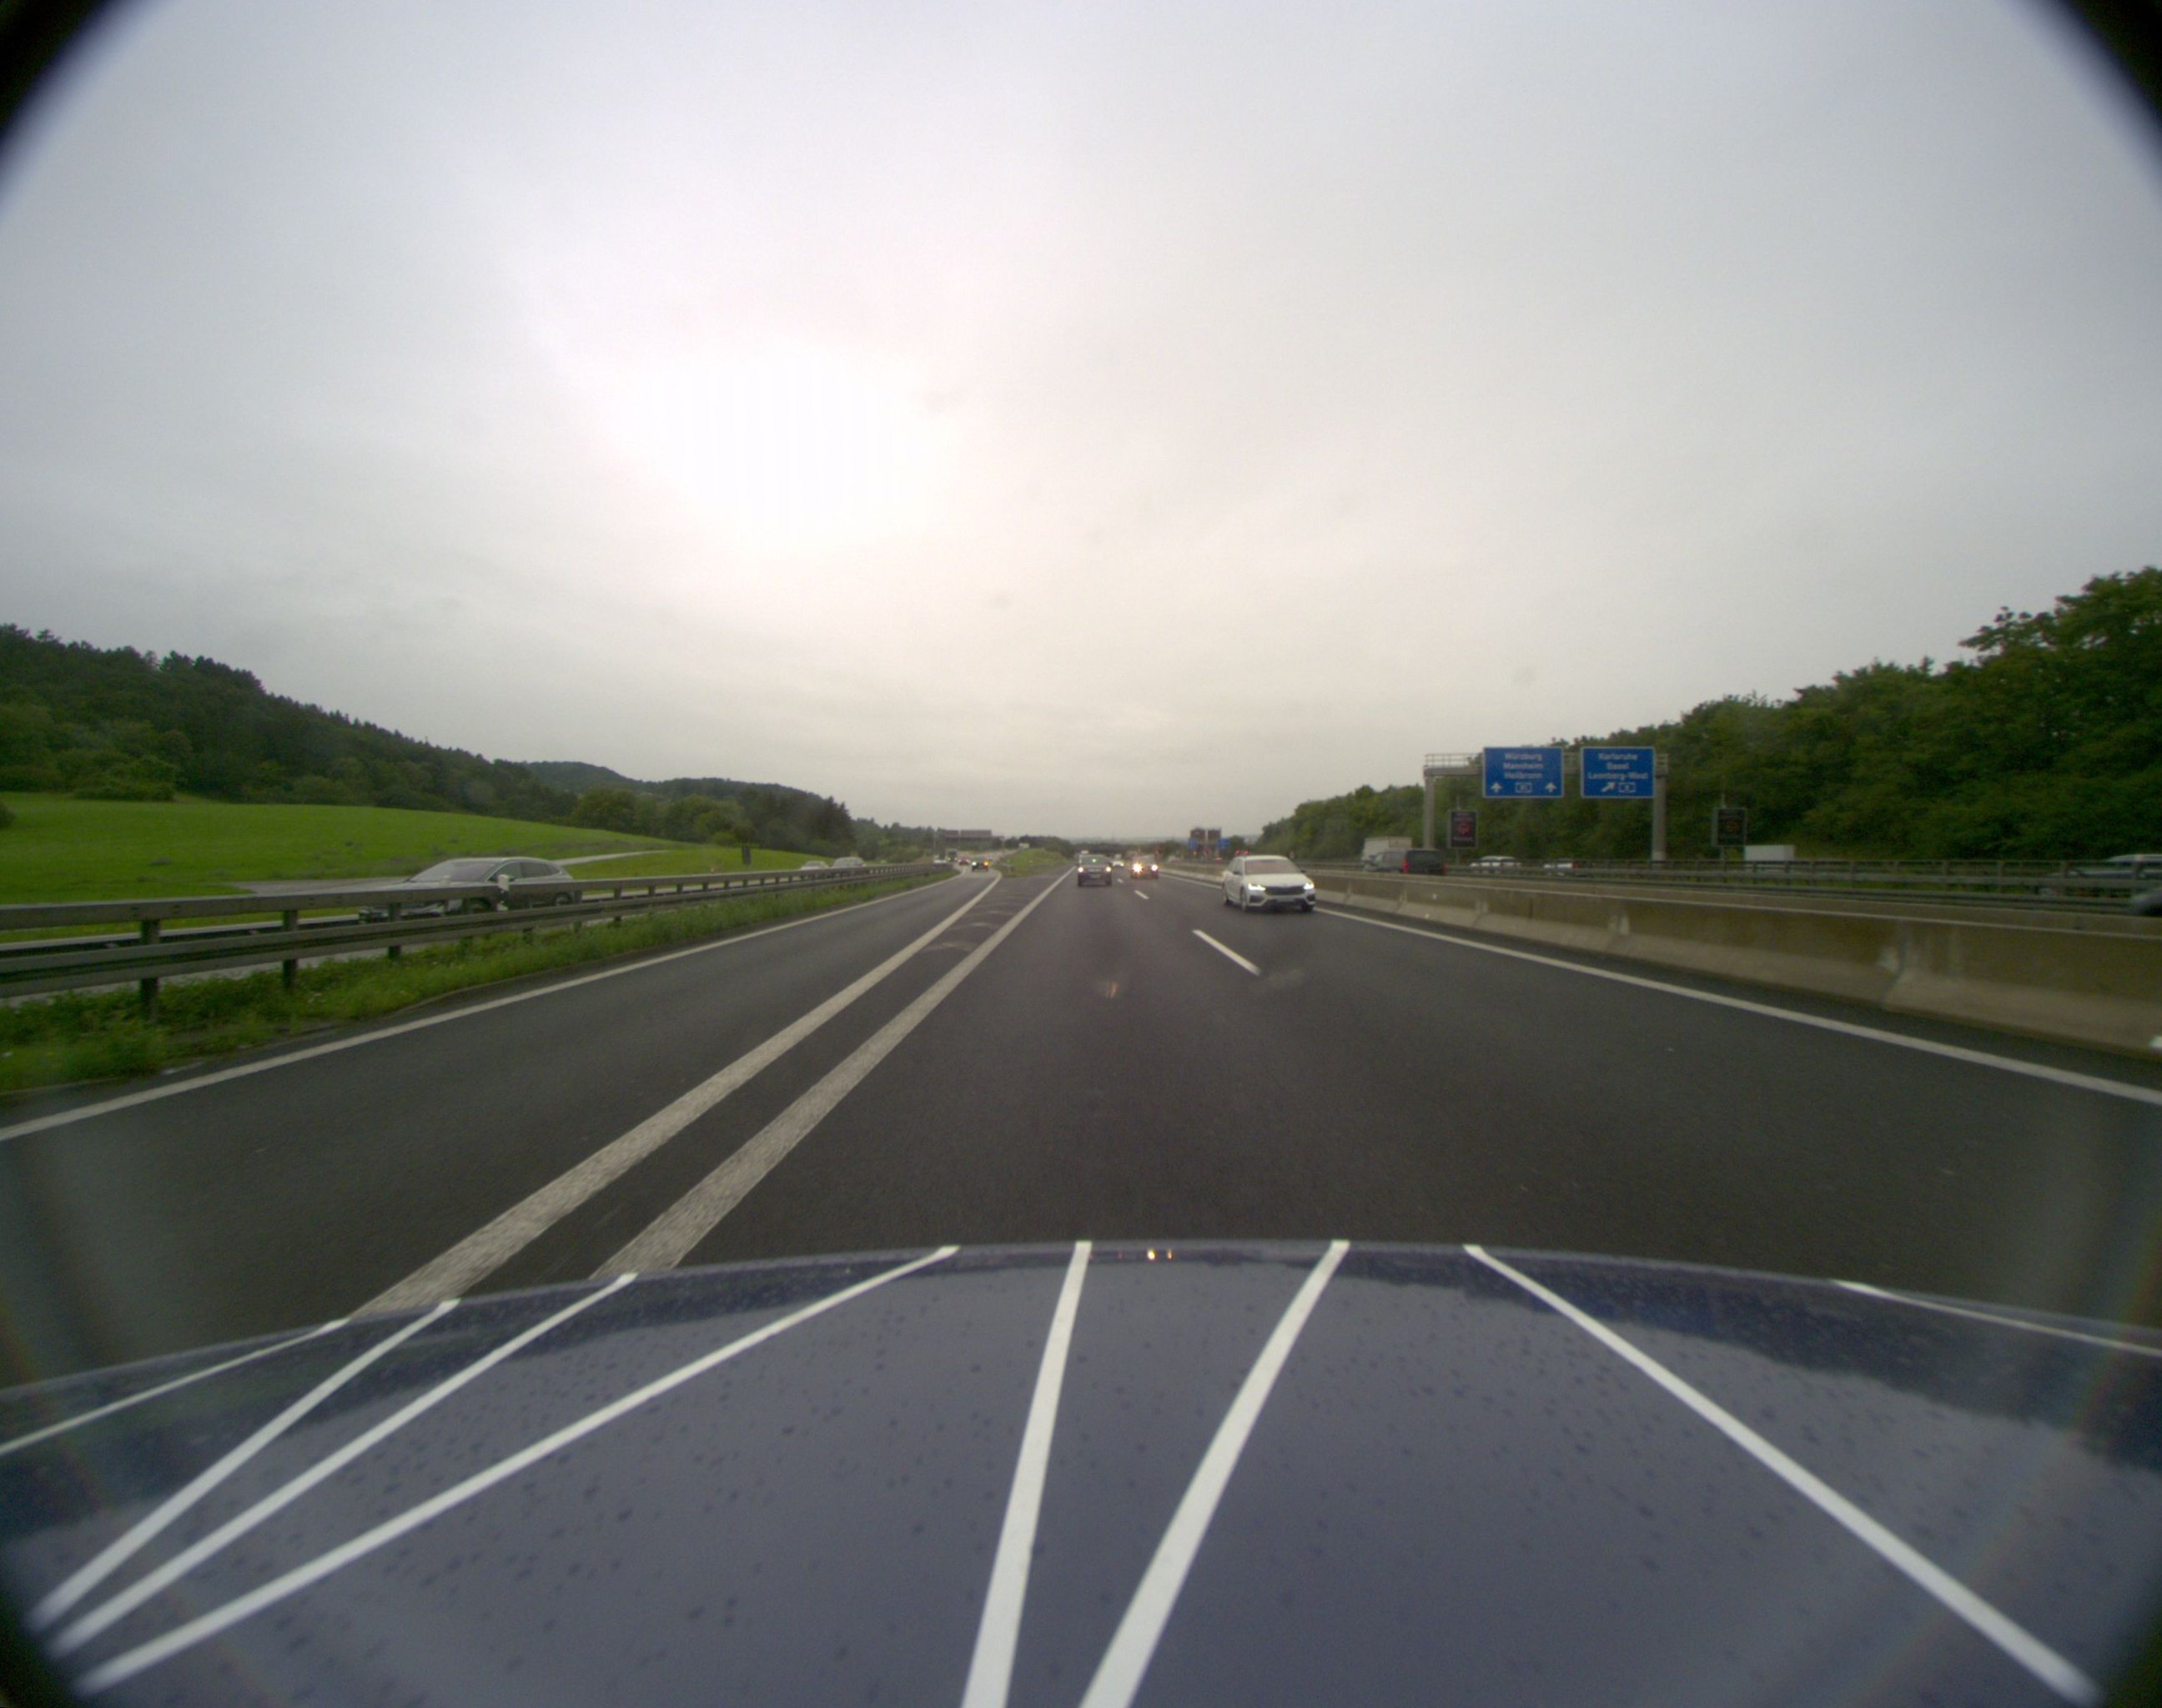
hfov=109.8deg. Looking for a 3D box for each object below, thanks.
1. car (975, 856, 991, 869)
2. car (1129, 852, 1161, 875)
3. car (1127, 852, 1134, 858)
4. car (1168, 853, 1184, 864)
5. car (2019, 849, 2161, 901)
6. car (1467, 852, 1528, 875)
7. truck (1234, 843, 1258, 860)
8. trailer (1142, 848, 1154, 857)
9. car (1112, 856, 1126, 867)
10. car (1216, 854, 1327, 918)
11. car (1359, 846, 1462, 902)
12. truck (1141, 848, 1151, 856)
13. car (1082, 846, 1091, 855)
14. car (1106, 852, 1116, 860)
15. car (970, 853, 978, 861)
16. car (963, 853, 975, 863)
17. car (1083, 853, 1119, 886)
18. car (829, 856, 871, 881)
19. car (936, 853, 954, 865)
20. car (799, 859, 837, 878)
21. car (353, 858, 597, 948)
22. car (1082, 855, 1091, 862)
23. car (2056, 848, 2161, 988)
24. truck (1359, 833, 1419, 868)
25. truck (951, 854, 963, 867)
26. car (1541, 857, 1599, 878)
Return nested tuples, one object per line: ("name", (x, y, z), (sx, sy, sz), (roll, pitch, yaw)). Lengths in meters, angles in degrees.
("car", (-11.503, 0.997, 89.240), (1.868, 1.349, 4.564), (-2, 1, -7))
("car", (4.363, 0.607, 52.359), (1.726, 1.481, 4.566), (-2, 1, -1))
("car", (15.149, 0.311, 232.324), (1.875, 1.671, 4.777), (-2, 1, -1))
("car", (13.783, 0.622, 109.904), (1.760, 1.448, 4.417), (-2, 1, 0))
("car", (32.891, 0.624, 23.641), (1.823, 1.484, 4.474), (-2, 1, -1))
("car", (28.859, 0.659, 52.811), (1.680, 1.448, 4.632), (-2, 1, 0))
("truck", (33.799, -0.562, 155.827), (2.858, 3.202, 9.078), (-2, 1, 1))
("trailer", (18.864, -0.471, 214.654), (2.582, 2.327, 7.946), (-2, 1, 1))
("car", (5.401, 1.043, 107.770), (1.726, 1.481, 4.566), (-2, 1, 0))
("car", (5.059, 0.779, 20.883), (1.823, 1.448, 4.777), (-2, 1, 0))
("car", (13.136, 0.715, 30.715), (1.998, 2.002, 4.982), (-2, 1, 0))
("truck", (18.974, -0.538, 222.206), (2.582, 2.327, 7.341), (-2, 1, 1))
("car", (1.201, -0.829, 179.988), (2.016, 1.994, 4.566), (-2, 1, -1))
("car", (5.844, 0.350, 149.029), (1.726, 1.481, 4.566), (-2, 1, -1))
("car", (-27.602, 0.780, 195.680), (1.828, 2.012, 3.998), (-2, 1, -4))
("car", (-22.803, 0.847, 154.819), (2.131, 2.002, 5.074), (-2, 1, -6))
("car", (1.023, 0.796, 40.788), (1.813, 1.571, 3.834), (-2, 1, 0))
("car", (-14.316, 0.862, 47.234), (1.672, 1.374, 4.123), (-2, 1, -5))
("car", (-19.524, 0.701, 109.166), (1.914, 1.684, 4.716), (-2, 1, -4))
("car", (-22.999, 1.234, 66.607), (1.904, 1.446, 4.708), (-2, 1, -4))
("car", (-12.997, 0.938, 16.774), (1.775, 1.600, 4.641), (-2, 1, -3))
("car", (1.267, 0.926, 173.502), (1.919, 1.481, 4.566), (-2, 1, -1))
("car", (16.822, 0.949, 9.847), (1.998, 2.002, 4.982), (-2, 1, 0))
("truck", (36.085, -0.414, 89.480), (3.082, 3.856, 9.634), (-2, 1, 1))
("truck", (-37.961, 1.894, 233.406), (2.800, 3.878, 10.022), (-2, 1, -5))
("car", (35.940, 0.961, 55.942), (1.680, 1.448, 4.000), (-2, 1, 0))
